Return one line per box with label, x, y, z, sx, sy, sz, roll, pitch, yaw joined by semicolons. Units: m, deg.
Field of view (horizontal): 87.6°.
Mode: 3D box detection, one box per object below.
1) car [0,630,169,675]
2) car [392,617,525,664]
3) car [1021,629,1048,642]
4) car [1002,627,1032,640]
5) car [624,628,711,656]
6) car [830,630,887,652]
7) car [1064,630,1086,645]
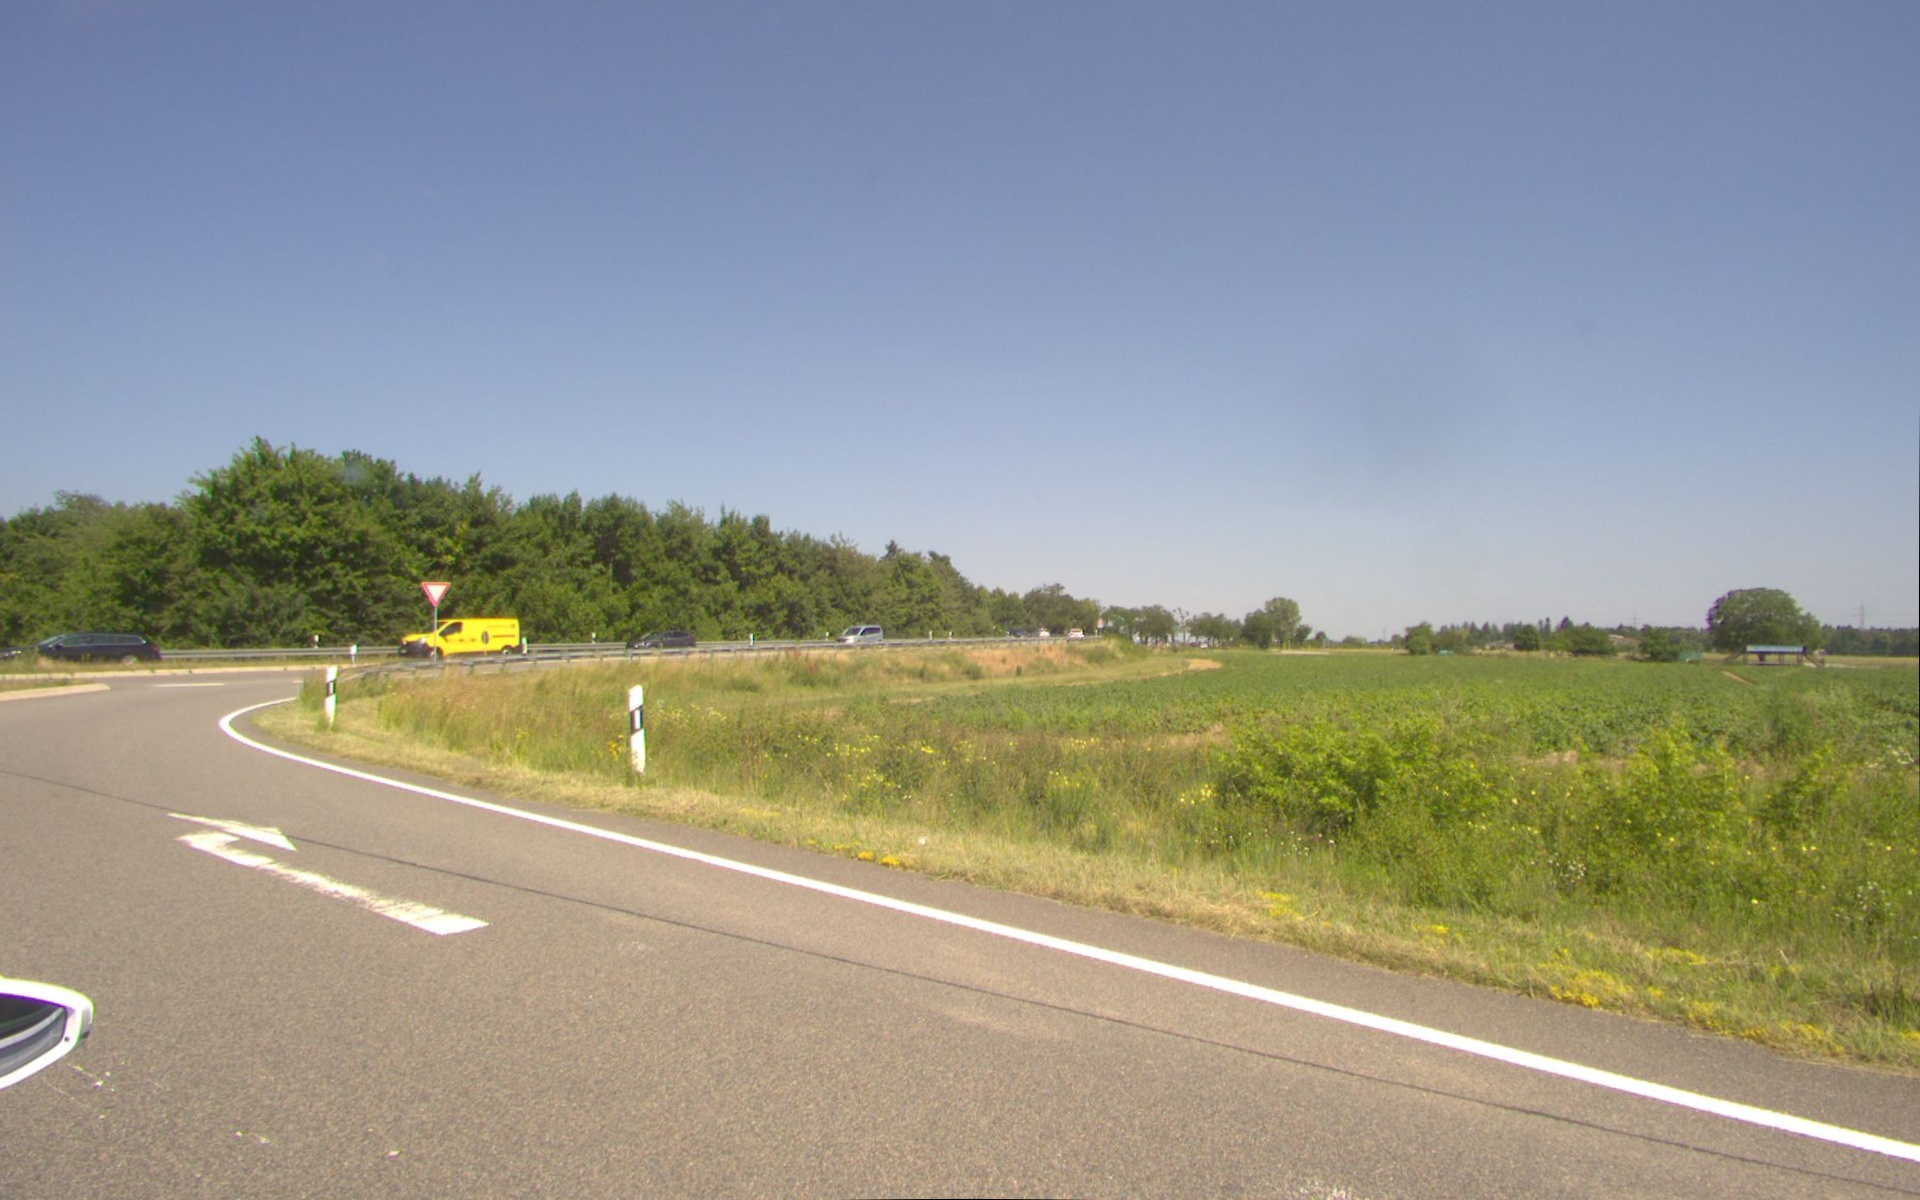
car;-32.003;1.875;36.527;1.831;1.533;4.663;-2;-2;40
car;-23.268;1.855;46.662;1.972;2.039;5.313;-1;-2;32
car;9.876;4.690;132.314;1.715;1.587;3.674;0;-2;-32
car;7.125;4.145;125.289;1.714;1.587;4.462;-1;0;-29
car;-16.635;2.355;57.146;1.828;1.533;4.671;-1;-2;34
car;-7.364;2.964;73.110;1.825;1.533;4.679;-1;-2;29
car;13.377;4.319;116.528;1.705;1.587;4.483;-1;-1;-4
